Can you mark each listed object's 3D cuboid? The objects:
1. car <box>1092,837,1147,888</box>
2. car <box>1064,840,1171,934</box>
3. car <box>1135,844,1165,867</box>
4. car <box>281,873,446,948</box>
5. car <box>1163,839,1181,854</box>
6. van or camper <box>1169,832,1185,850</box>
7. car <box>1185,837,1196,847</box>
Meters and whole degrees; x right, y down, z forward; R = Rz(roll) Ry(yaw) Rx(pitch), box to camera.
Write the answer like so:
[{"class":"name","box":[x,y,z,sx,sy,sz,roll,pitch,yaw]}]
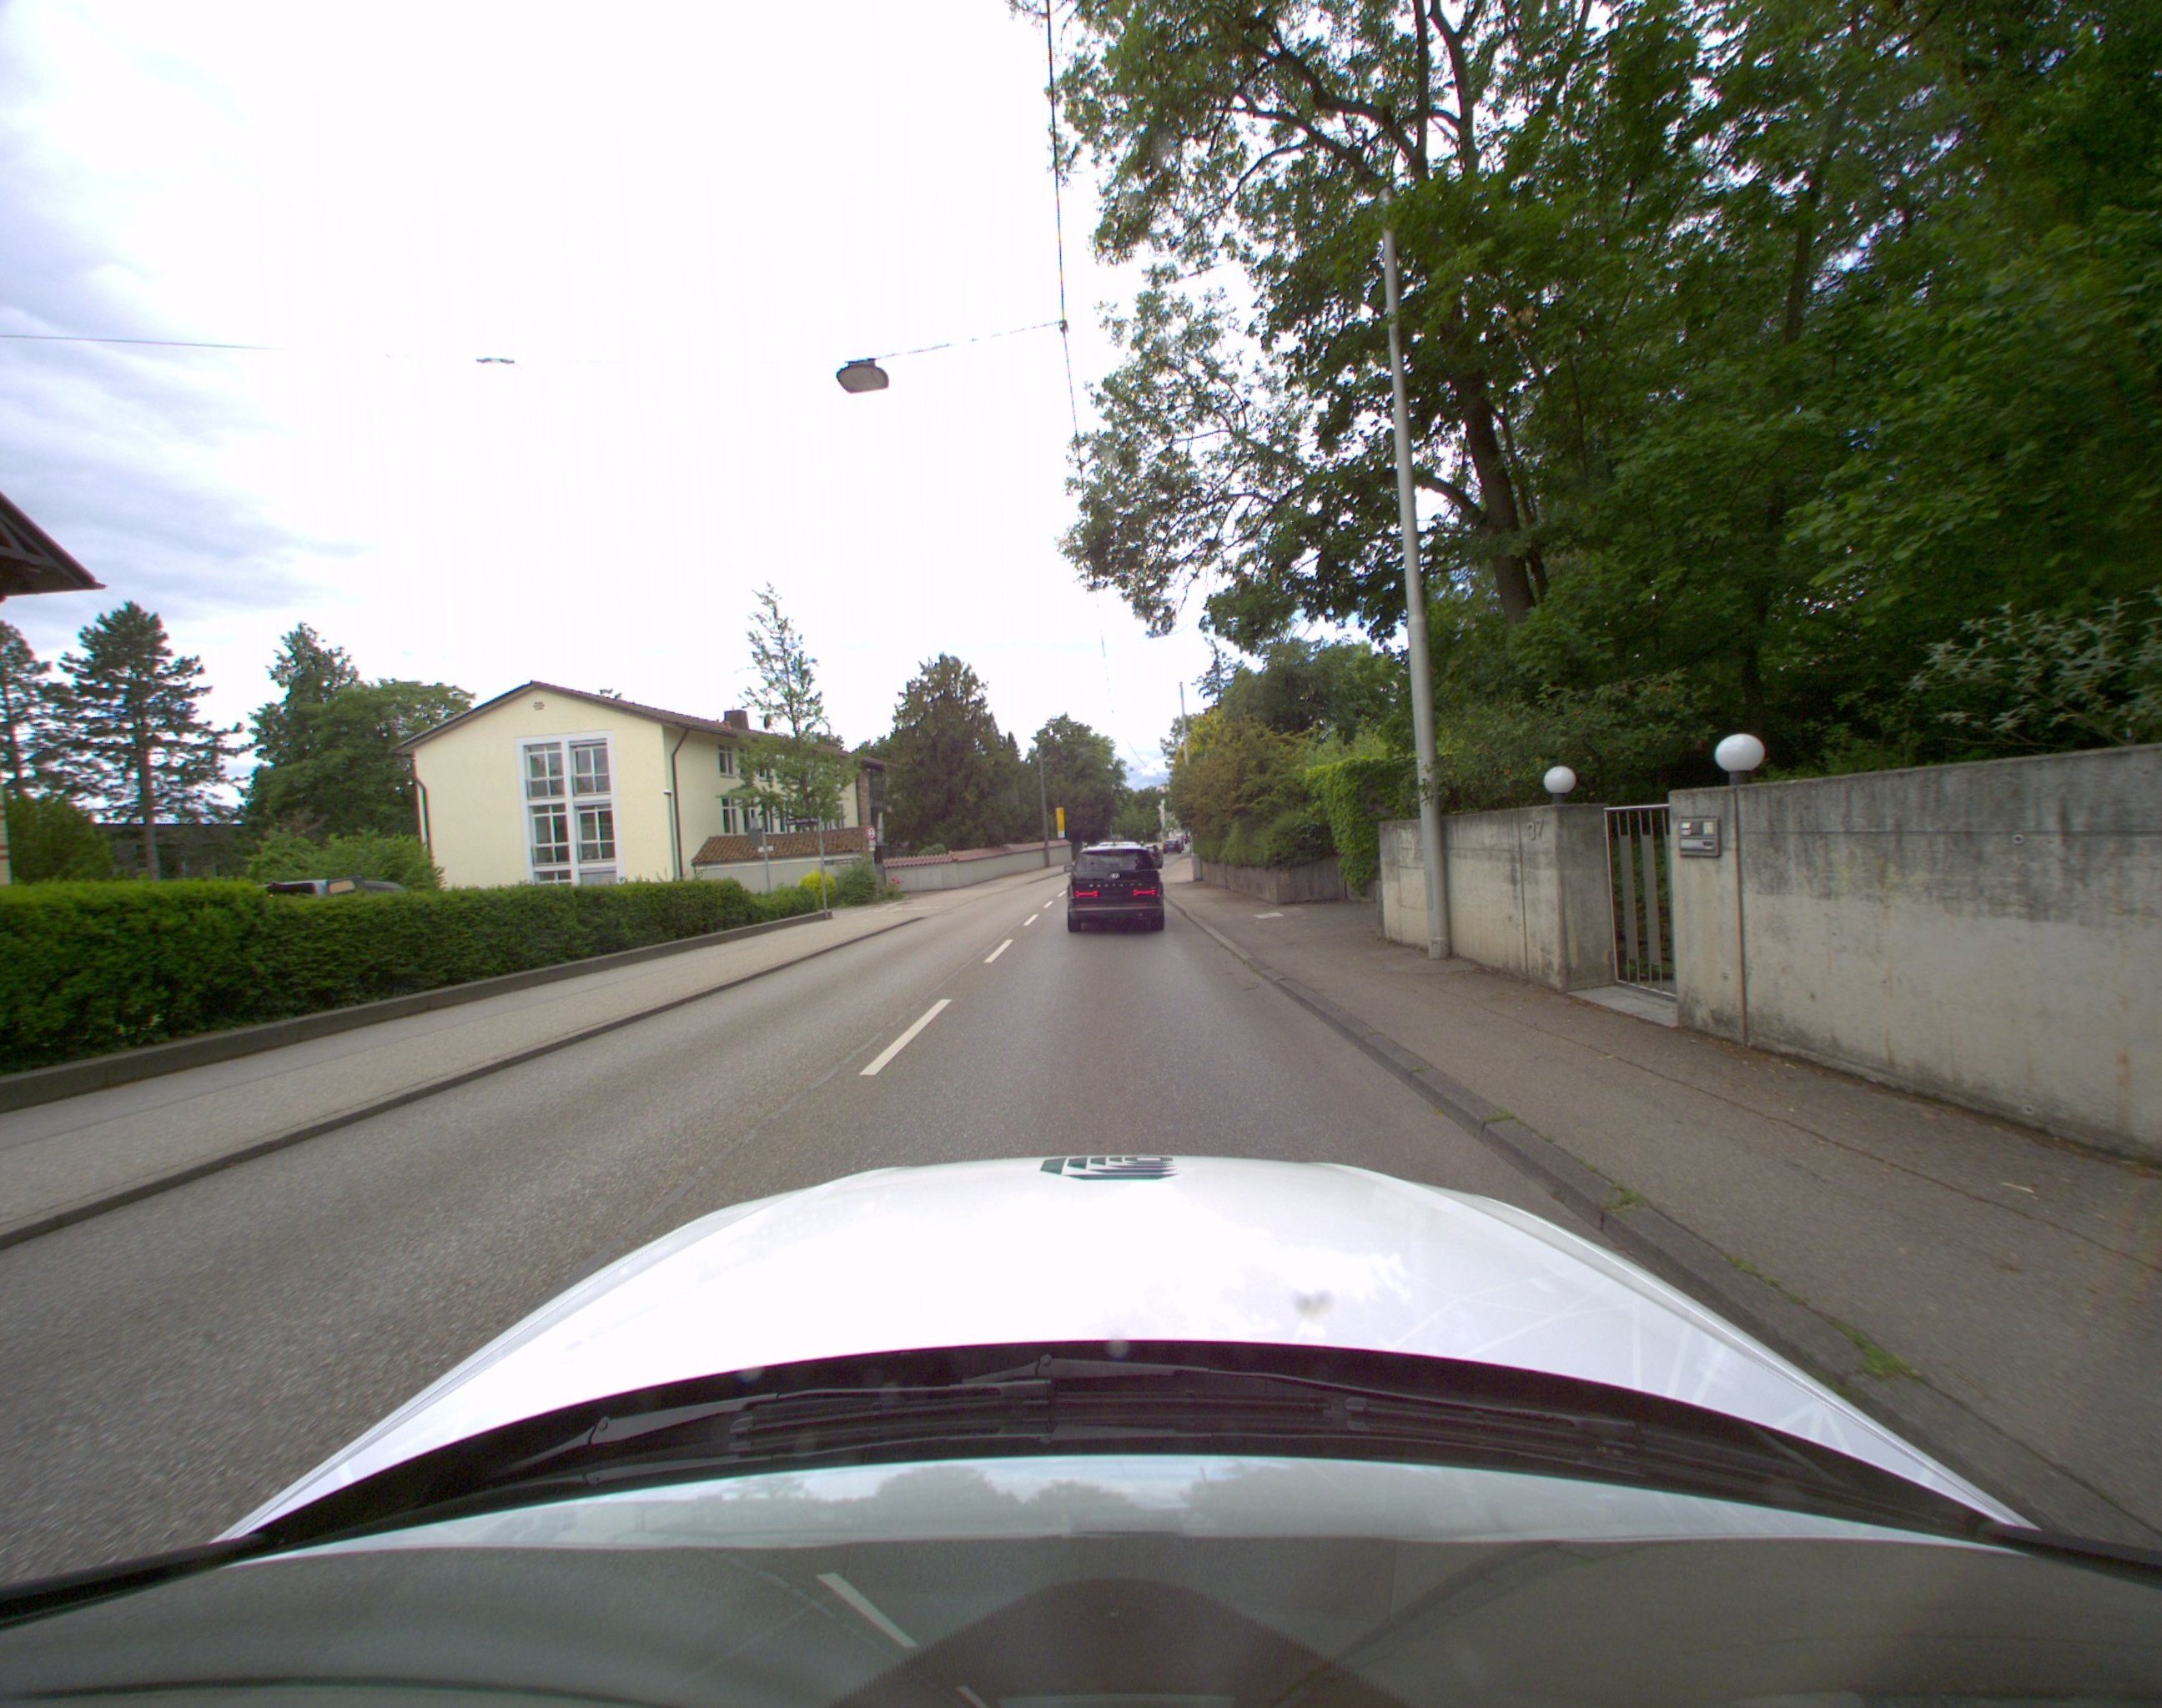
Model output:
[{"class":"car","box":[1.693,0.280,34.103,1.946,1.955,4.232,0,2,7]},{"class":"car","box":[0.738,0.602,17.030,1.950,1.713,4.225,0,0,2]},{"class":"car","box":[4.836,0.074,56.834,1.665,1.422,3.949,-3,1,9]},{"class":"car","box":[-18.059,1.345,20.708,1.687,1.595,3.489,-4,0,-15]},{"class":"car","box":[9.678,-0.810,86.248,1.666,1.422,3.947,-3,1,8]},{"class":"van or camper","box":[11.824,-1.649,100.467,1.665,2.007,3.949,-3,1,10]},{"class":"car","box":[19.006,-2.036,141.402,1.665,1.541,3.949,-3,1,10]}]
